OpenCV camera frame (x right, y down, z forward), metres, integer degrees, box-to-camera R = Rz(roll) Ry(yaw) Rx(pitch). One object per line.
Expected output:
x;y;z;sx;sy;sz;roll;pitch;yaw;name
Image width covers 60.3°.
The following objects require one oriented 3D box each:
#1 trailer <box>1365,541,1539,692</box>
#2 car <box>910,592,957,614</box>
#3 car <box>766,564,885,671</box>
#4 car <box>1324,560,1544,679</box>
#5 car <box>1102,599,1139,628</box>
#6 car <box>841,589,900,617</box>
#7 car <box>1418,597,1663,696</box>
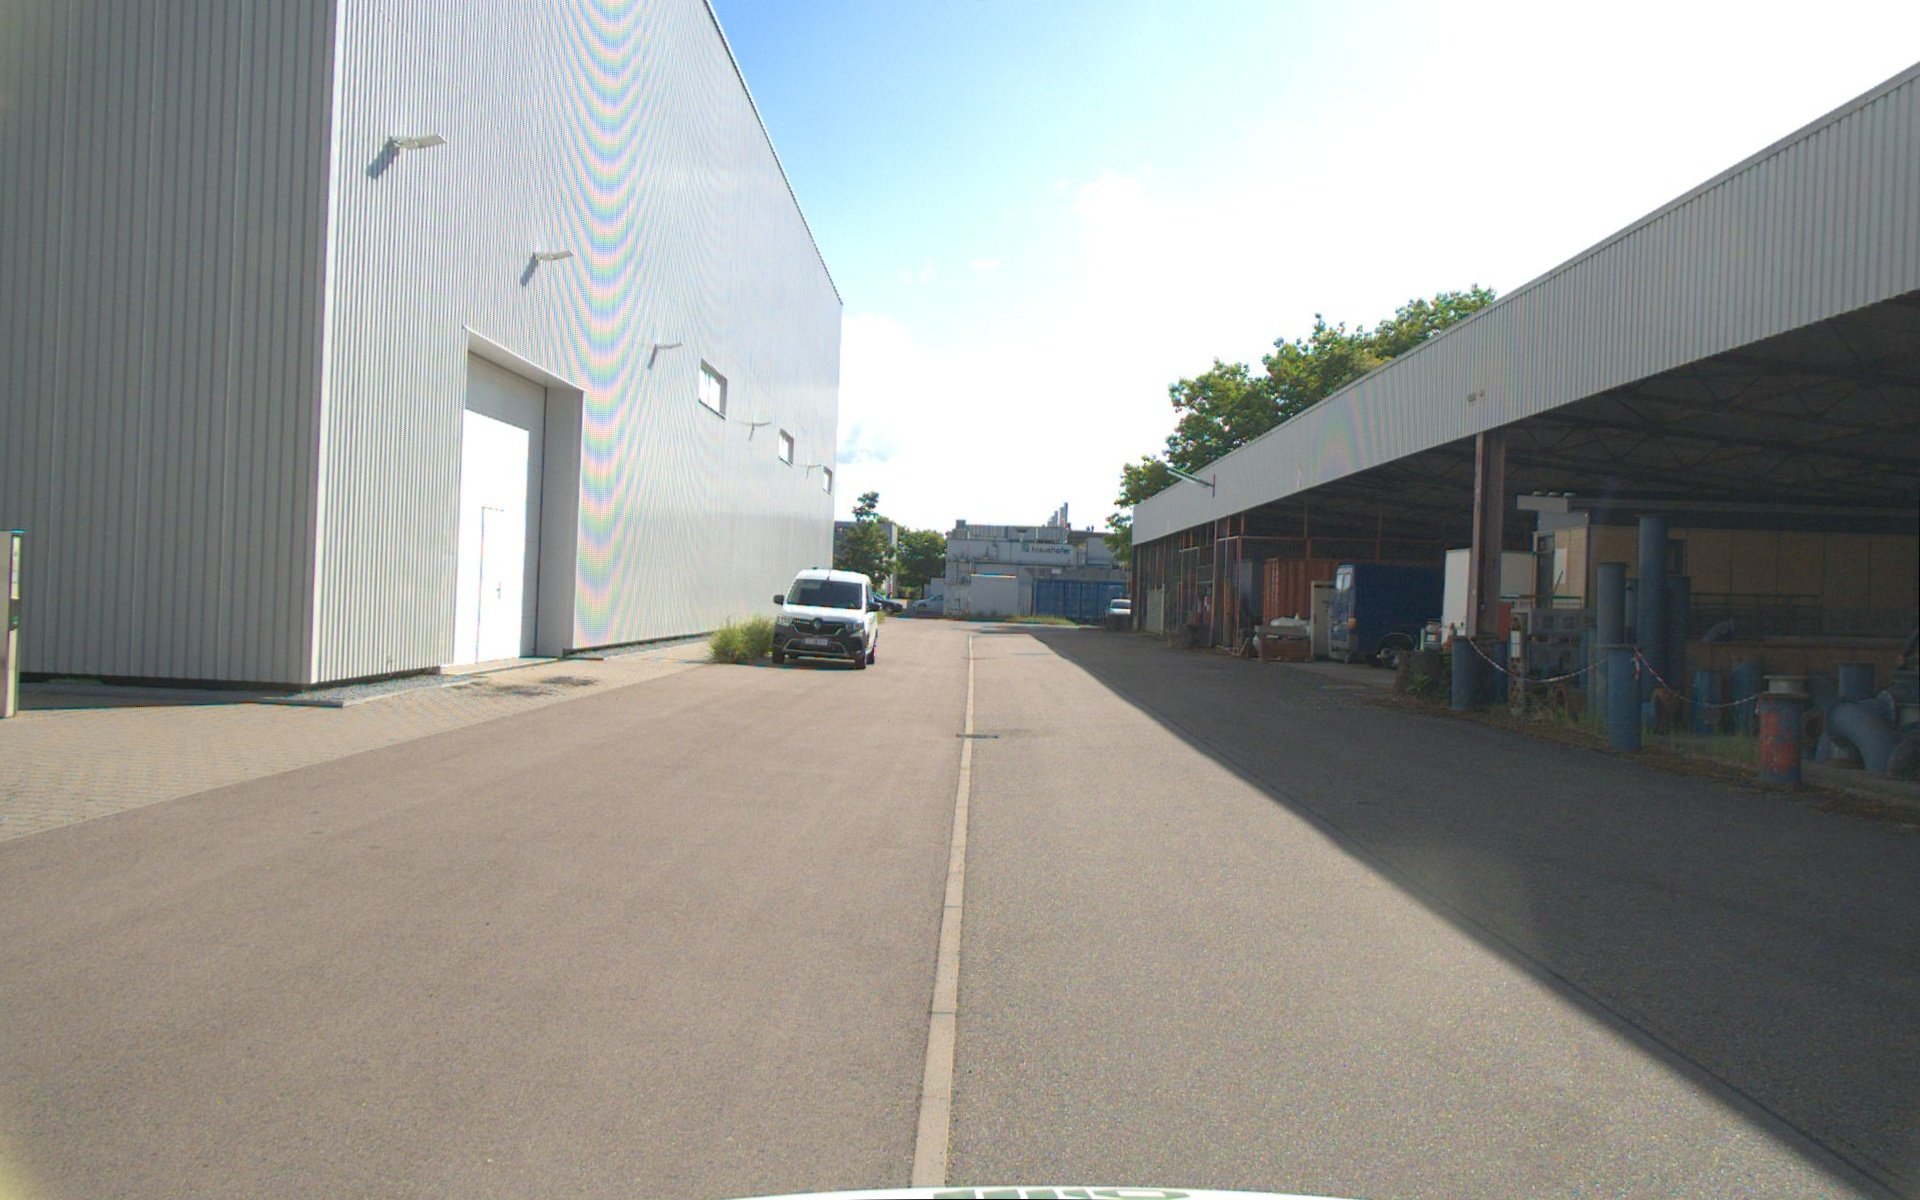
8.491;0.286;28.701;2.471;2.441;1.727;2;-1;1;trailer
-2.257;0.278;142.310;3.906;1.626;1.847;4;-2;-1;car
-2.543;0.299;32.208;1.781;1.818;4.405;4;0;1;car
10.678;0.461;37.478;4.342;2.350;1.915;4;-2;1;car
9.871;0.807;101.957;1.921;1.591;4.060;4;1;2;car
-6.198;0.243;114.445;3.906;1.626;1.741;4;-2;-1;car
10.800;0.869;30.955;3.955;1.551;1.684;4;-2;1;car
